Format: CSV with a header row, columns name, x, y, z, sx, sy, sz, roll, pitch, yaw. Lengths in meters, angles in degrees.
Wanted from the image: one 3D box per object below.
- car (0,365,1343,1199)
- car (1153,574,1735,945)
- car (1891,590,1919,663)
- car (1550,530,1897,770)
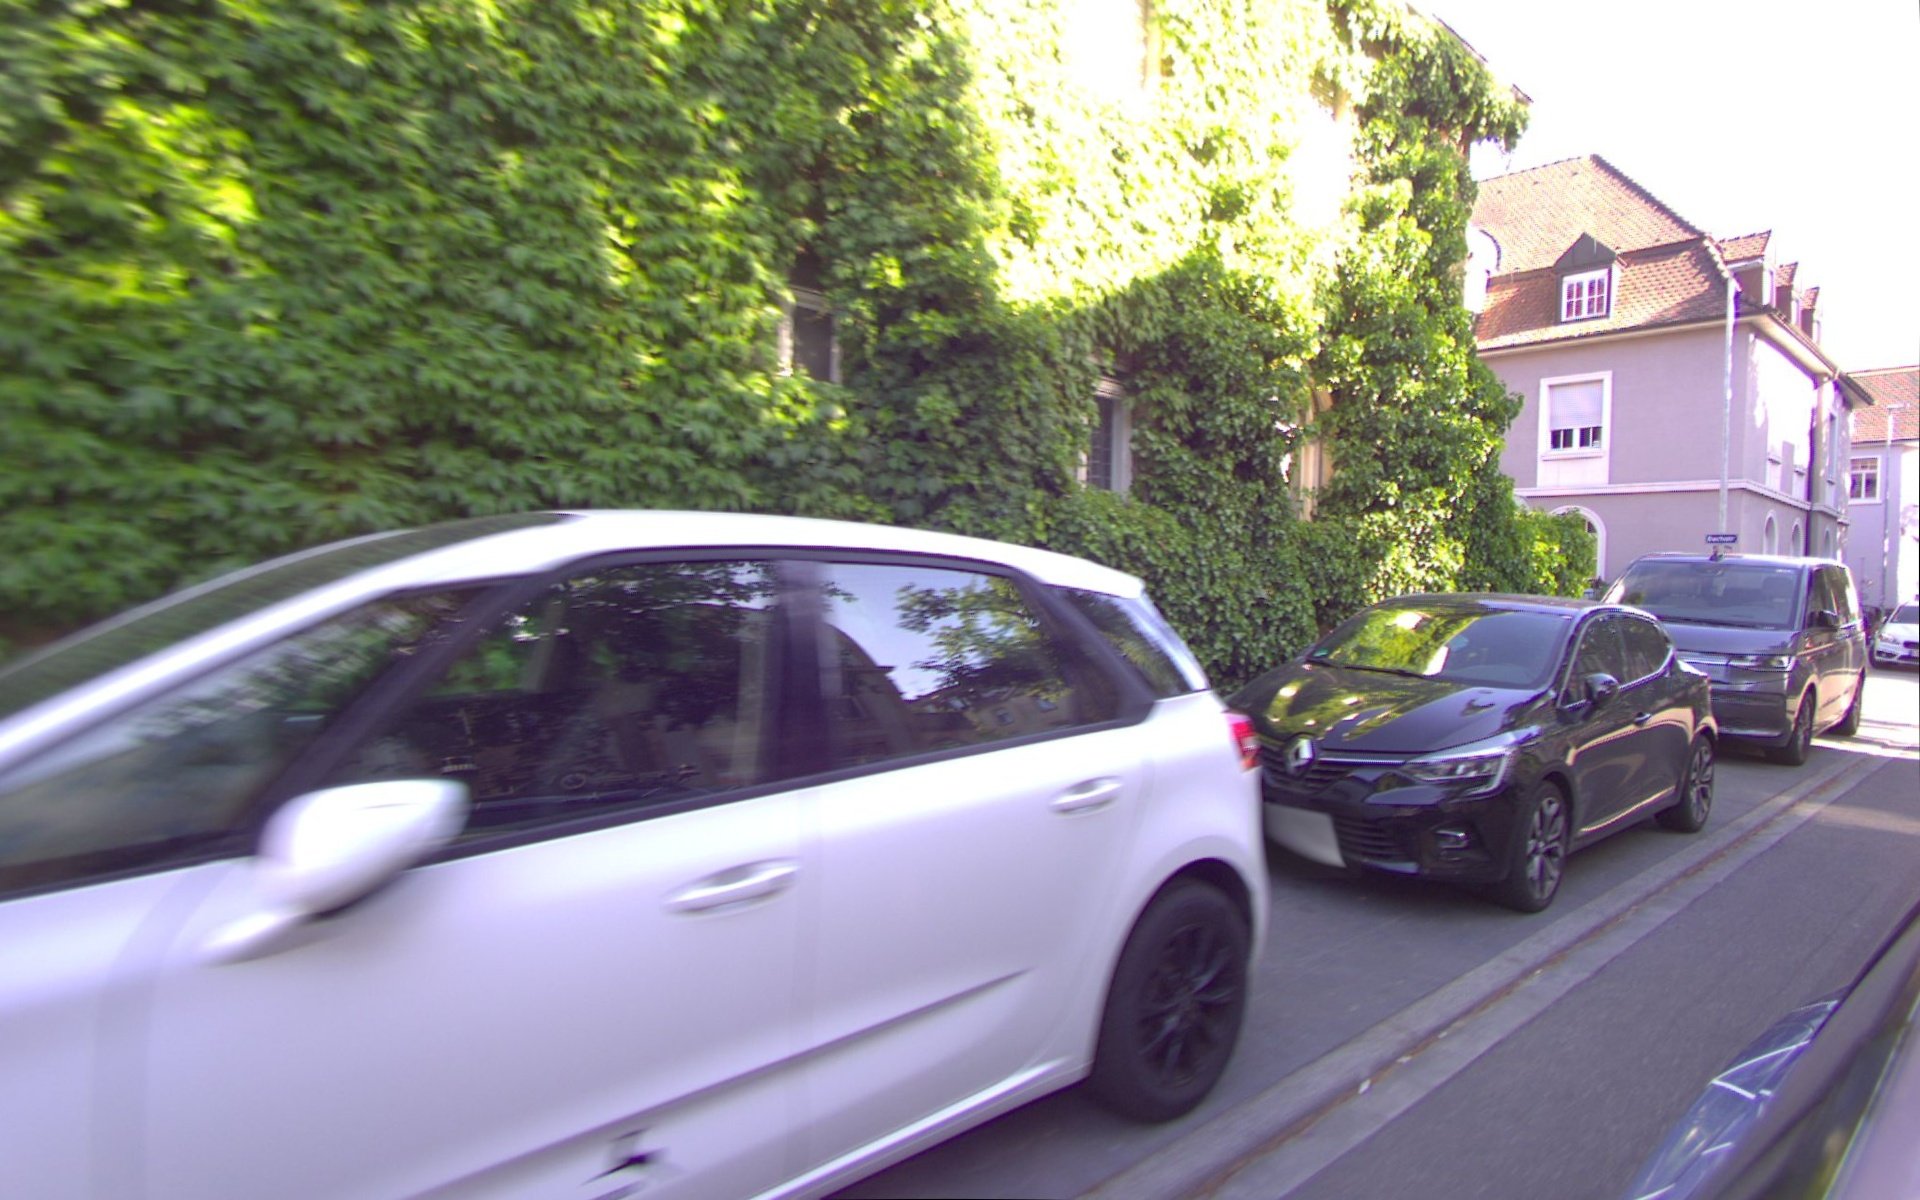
name,x,y,z,sx,sy,sz,roll,pitch,yaw
car,-0.973,0.512,2.594,4.125,1.665,1.871,0,2,-40
car,3.025,0.612,5.929,3.939,1.439,1.640,0,2,-41
car,22.461,0.588,22.865,4.037,1.574,1.811,0,1,-44
car,8.013,0.367,10.432,4.766,1.932,1.856,0,2,-41
